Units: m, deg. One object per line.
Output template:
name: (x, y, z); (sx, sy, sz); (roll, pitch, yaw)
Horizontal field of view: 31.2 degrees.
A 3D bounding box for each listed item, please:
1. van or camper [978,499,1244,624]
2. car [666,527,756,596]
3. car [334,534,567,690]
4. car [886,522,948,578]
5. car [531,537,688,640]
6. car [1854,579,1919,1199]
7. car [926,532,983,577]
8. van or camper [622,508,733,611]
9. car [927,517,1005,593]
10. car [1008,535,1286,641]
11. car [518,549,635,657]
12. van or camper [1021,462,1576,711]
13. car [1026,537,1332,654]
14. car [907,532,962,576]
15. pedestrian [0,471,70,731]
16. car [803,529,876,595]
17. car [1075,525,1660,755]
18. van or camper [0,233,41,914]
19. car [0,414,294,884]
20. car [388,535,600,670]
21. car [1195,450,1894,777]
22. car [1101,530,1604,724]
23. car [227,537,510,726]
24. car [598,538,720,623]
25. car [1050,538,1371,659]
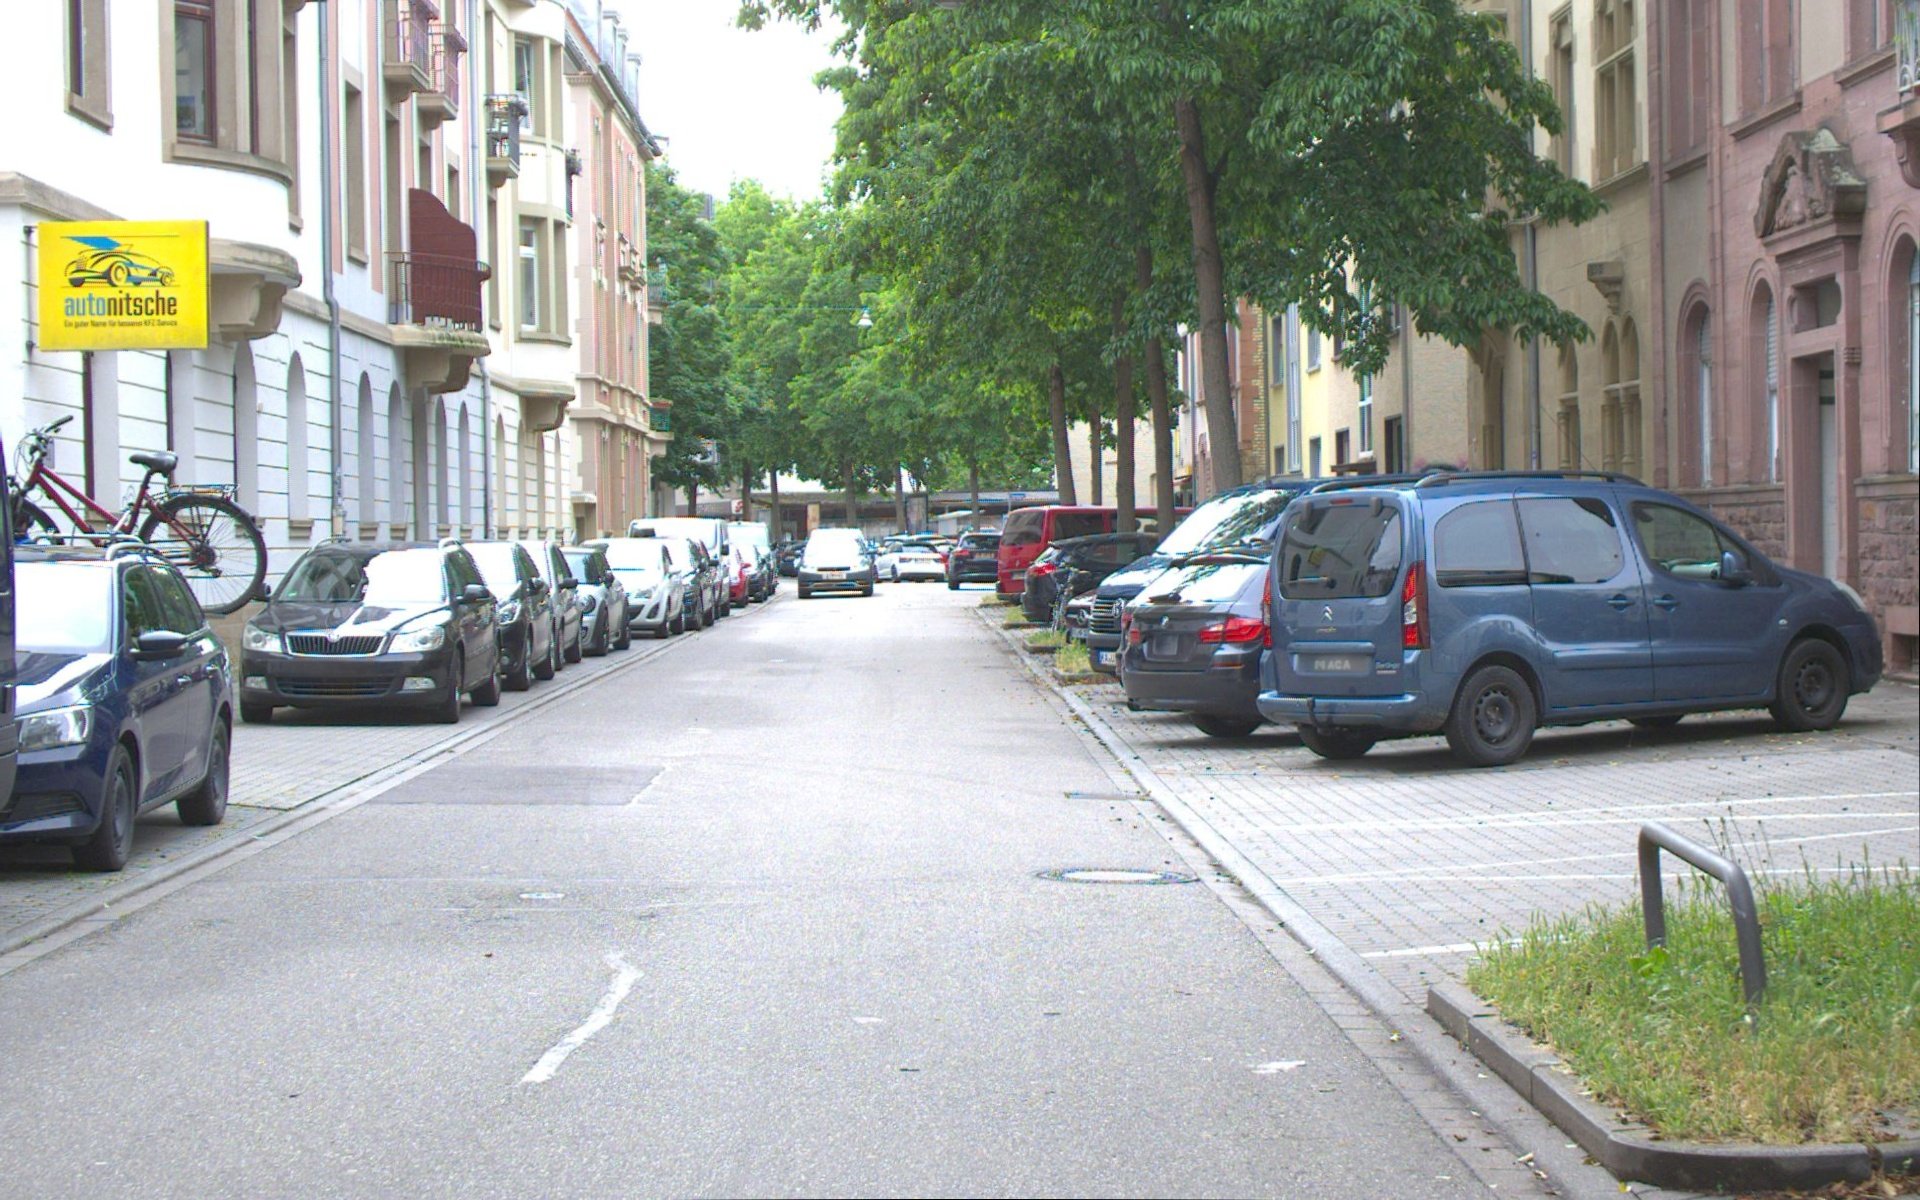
van or camper: (2.614, -0.683, 59.229); (4.146, 2.078, 1.953); (-1, 1, -28)
car: (-5.824, -0.930, 80.645); (1.786, 1.450, 3.888); (-4, 1, -1)
car: (-5.063, 0.079, 34.616); (1.829, 1.422, 3.802); (2, 1, -1)
car: (-1.438, -1.629, 113.410); (1.993, 1.788, 4.000); (1, 0, -1)
car: (-5.227, -0.197, 51.676); (1.993, 1.470, 4.000); (-1, 1, -1)
car: (4.056, 0.531, 6.975); (4.301, 1.388, 1.923); (-4, 2, -34)
car: (-0.193, -1.590, 118.684); (1.870, 1.525, 3.840); (-1, 1, -1)
van or camper: (-5.588, -0.818, 68.438); (1.881, 1.961, 4.408); (-1, 1, -1)
car: (0.148, -1.261, 96.047); (1.993, 2.007, 4.000); (2, 1, -1)
car: (2.673, -0.184, 49.574); (3.760, 1.460, 1.729); (-1, 1, -6)
car: (-4.922, 0.013, 44.394); (1.209, 1.305, 3.261); (-1, 1, -1)
van or camper: (3.131, -0.171, 31.513); (4.775, 2.130, 2.055); (-1, 1, -31)
car: (2.845, -0.075, 45.172); (3.760, 1.460, 1.729); (-1, 1, -6)
car: (-0.925, -1.666, 123.186); (1.870, 1.525, 4.000); (-1, 1, -1)
pedestrian: (-6.391, 0.001, 23.308); (0.544, 1.734, 0.656); (1, 1, -3)
car: (-3.094, -0.949, 88.499); (1.821, 1.639, 3.754); (1, 0, -1)
car: (3.058, 0.243, 25.622); (4.010, 1.554, 1.885); (-1, 1, -31)
van or camper: (-4.687, -0.078, 11.117); (2.008, 2.642, 5.316); (2, 1, -1)
car: (-4.772, 0.170, 17.137); (1.993, 2.007, 4.891); (-1, 1, -1)
car: (-5.297, -0.010, 39.568); (1.947, 1.398, 4.000); (2, 1, -1)
car: (3.897, 0.053, 22.797); (4.172, 1.863, 2.000); (-3, 1, -30)
car: (3.305, 0.188, 28.860); (3.861, 1.494, 1.802); (-1, 1, -29)
car: (-4.885, 0.212, 28.889); (1.789, 1.475, 4.023); (0, 1, -1)
car: (-5.053, -0.356, 58.045); (1.786, 1.369, 3.508); (-1, 1, -1)
car: (3.062, -0.038, 42.357); (3.709, 1.403, 1.576); (-1, 1, -6)
